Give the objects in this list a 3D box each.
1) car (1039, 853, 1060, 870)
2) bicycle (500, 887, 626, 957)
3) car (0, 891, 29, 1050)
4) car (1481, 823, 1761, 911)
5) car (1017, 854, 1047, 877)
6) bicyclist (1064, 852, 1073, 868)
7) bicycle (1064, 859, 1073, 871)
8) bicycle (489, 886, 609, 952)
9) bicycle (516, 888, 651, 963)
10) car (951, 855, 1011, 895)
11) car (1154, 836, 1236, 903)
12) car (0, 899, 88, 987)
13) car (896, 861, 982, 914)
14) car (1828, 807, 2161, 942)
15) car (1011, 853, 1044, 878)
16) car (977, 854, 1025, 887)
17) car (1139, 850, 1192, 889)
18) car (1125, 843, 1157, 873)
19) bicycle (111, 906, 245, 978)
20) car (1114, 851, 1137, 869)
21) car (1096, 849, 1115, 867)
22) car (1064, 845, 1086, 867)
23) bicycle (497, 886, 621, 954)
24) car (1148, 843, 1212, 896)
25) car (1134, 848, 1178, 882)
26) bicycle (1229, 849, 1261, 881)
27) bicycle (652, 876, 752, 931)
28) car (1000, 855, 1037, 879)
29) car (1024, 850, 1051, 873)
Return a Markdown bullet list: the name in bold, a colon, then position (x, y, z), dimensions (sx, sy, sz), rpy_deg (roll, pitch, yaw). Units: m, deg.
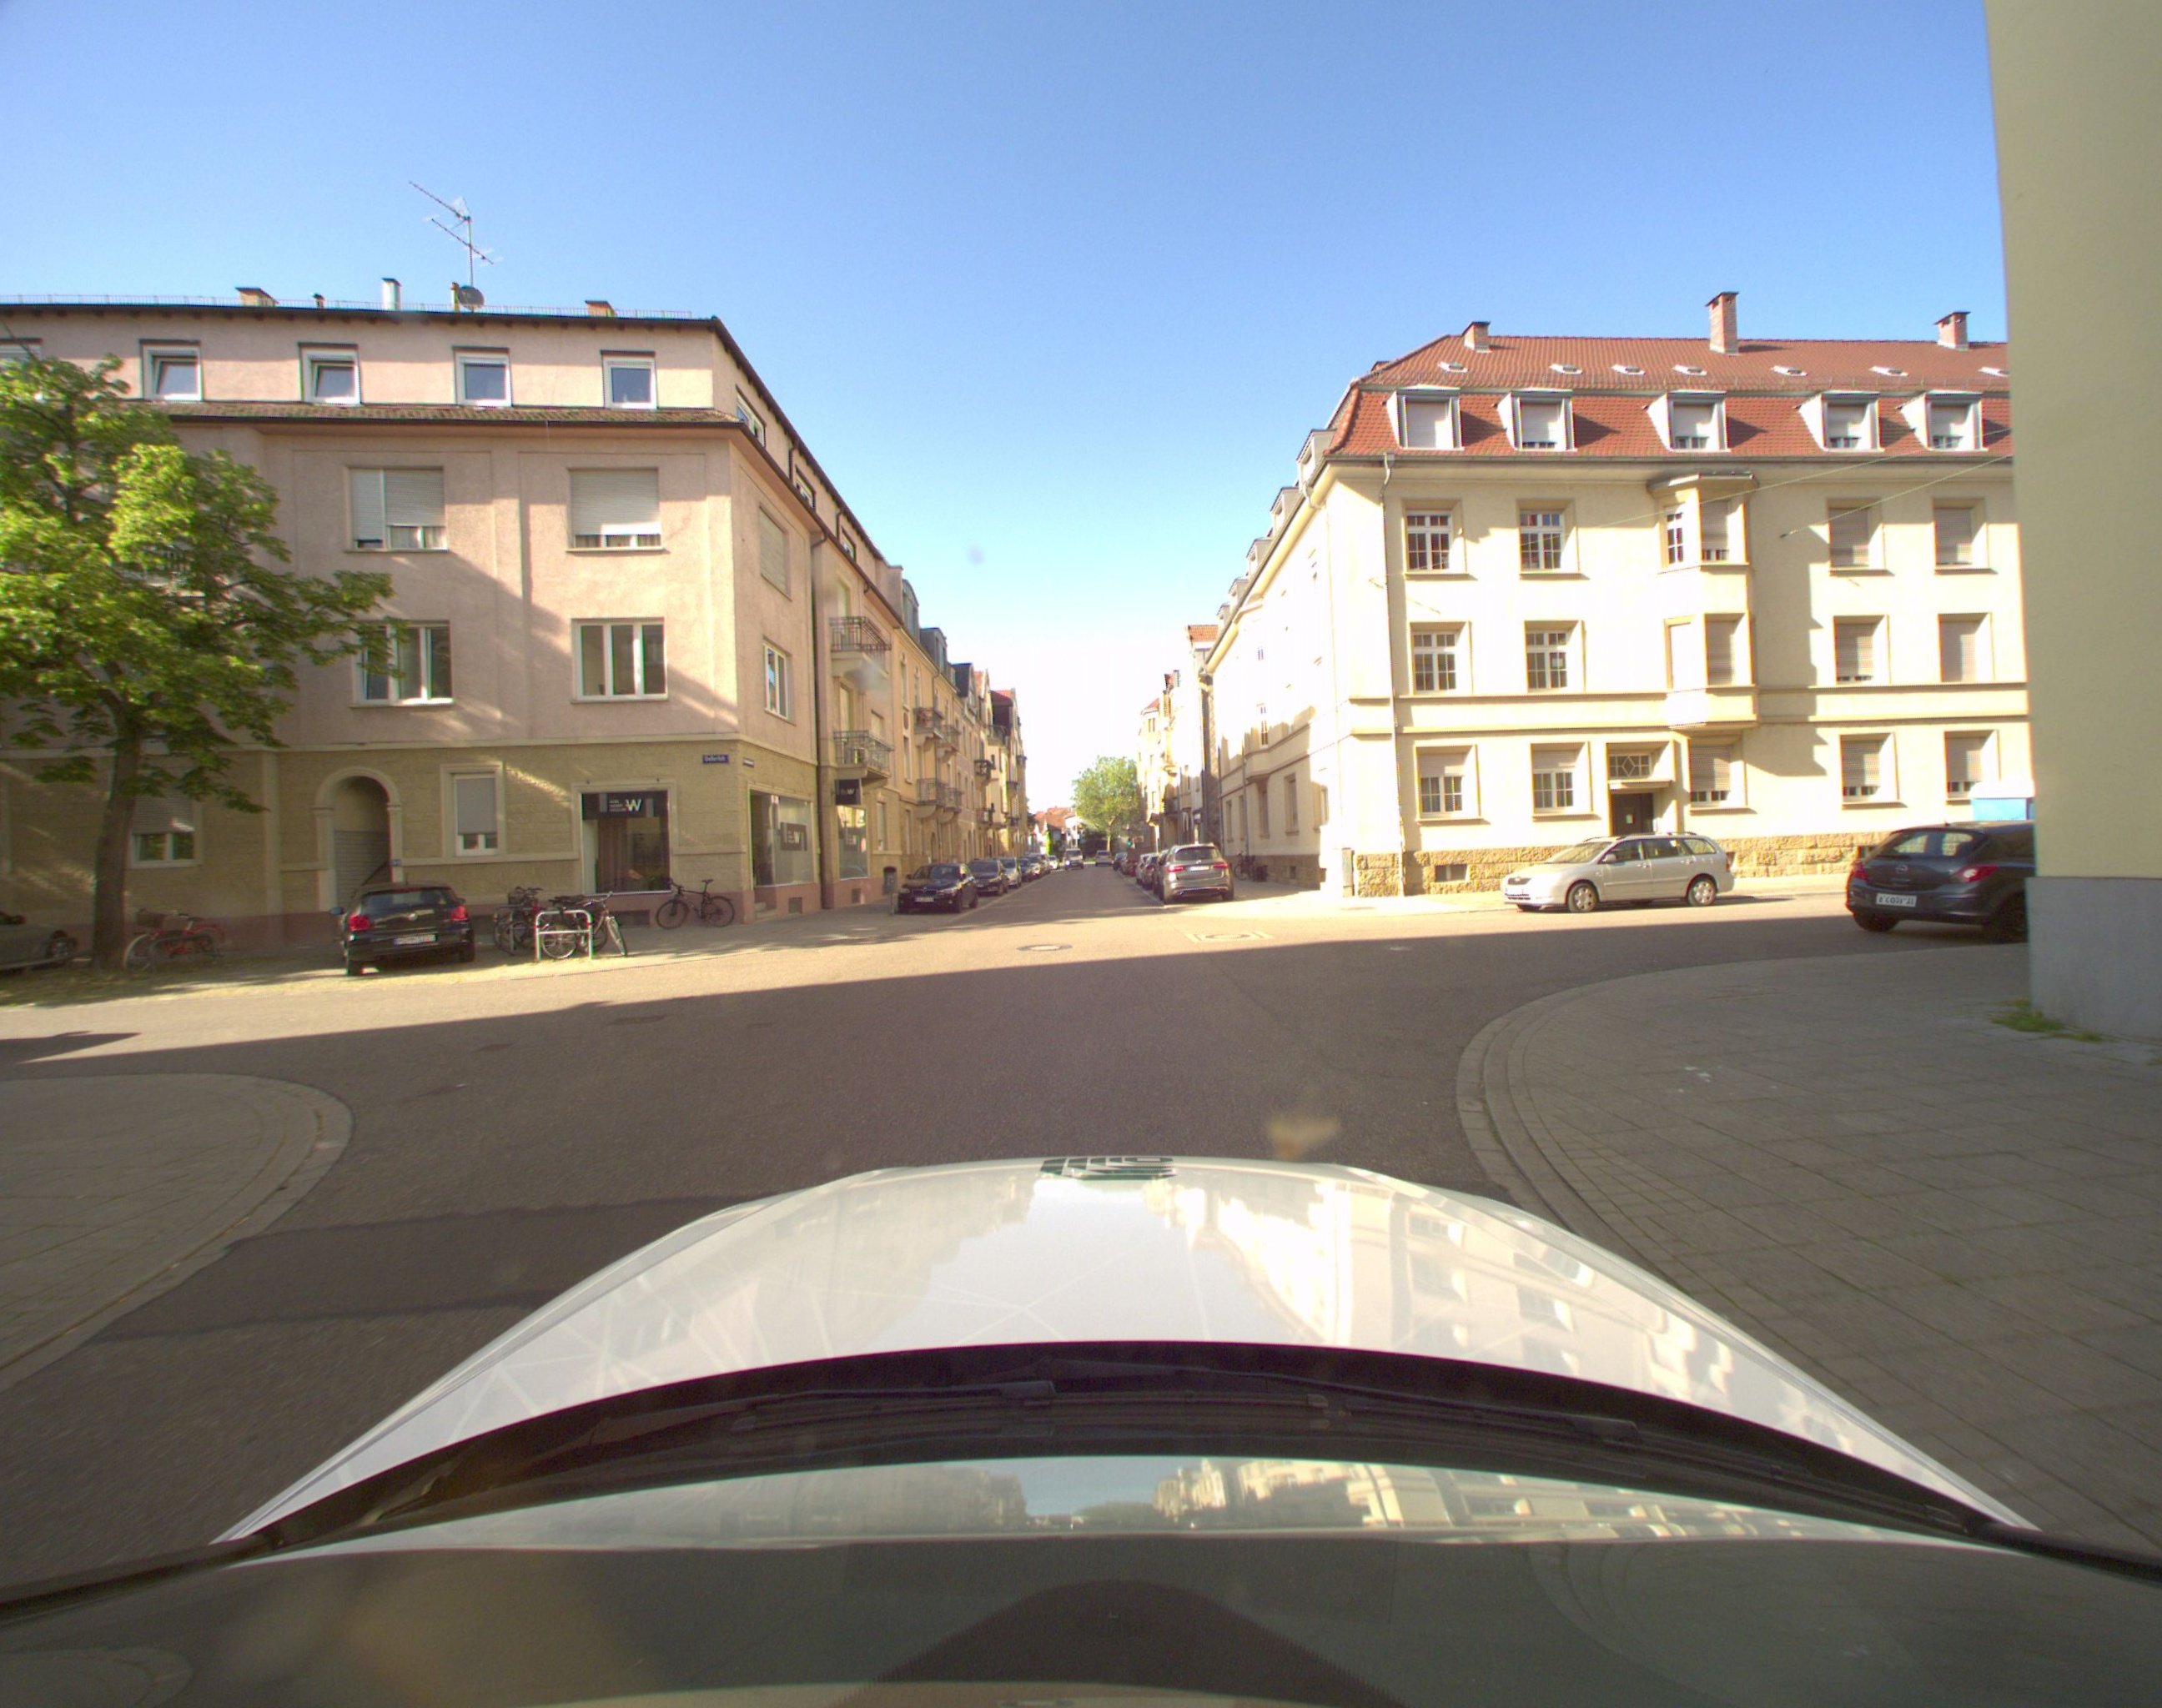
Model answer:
- **car**: position (-3.130, 0.748, 81.774), dimensions (1.997, 1.605, 4.486), rpy_deg (0, -1, 0)
- **bicycle**: position (-9.390, 1.221, 14.787), dimensions (1.891, 1.135, 0.526), rpy_deg (-2, 1, 1)
- **car**: position (-13.020, 1.281, 7.286), dimensions (4.429, 1.592, 1.723), rpy_deg (-3, 0, -7)
- **car**: position (10.764, 0.272, 16.410), dimensions (4.532, 1.468, 1.824), rpy_deg (-3, -2, -7)
- **car**: position (-3.632, 0.855, 61.299), dimensions (1.997, 1.619, 4.486), rpy_deg (0, -1, 0)
- **bicyclist**: position (-1.084, 0.502, 71.273), dimensions (0.660, 1.385, 0.754), rpy_deg (-4, -1, -1)
- **bicycle**: position (-1.063, 0.972, 71.250), dimensions (0.660, 1.019, 2.066), rpy_deg (-4, -1, 0)
- **bicycle**: position (-10.335, 1.254, 15.866), dimensions (1.893, 1.135, 0.526), rpy_deg (-3, 1, -2)
- **bicycle**: position (-8.598, 1.226, 14.117), dimensions (1.891, 1.135, 0.648), rpy_deg (-3, 1, 1)
- **car**: position (-4.168, 0.851, 34.585), dimensions (1.997, 1.582, 4.486), rpy_deg (0, -1, 0)
- **car**: position (3.235, 0.457, 23.981), dimensions (1.905, 1.644, 4.776), rpy_deg (-4, -1, 3)
- **car**: position (-19.647, 1.622, 14.023), dimensions (1.709, 1.438, 4.176), rpy_deg (-3, 0, -28)
- **car**: position (-4.140, 0.931, 24.386), dimensions (1.673, 1.426, 4.276), rpy_deg (0, -1, 2)
- **car**: position (12.084, 0.204, 10.459), dimensions (3.618, 1.468, 1.689), rpy_deg (-3, 0, -6)
- **car**: position (-3.624, 0.778, 55.794), dimensions (1.997, 1.619, 4.486), rpy_deg (0, -1, 0)
- **car**: position (-4.076, 0.847, 42.144), dimensions (1.997, 1.619, 4.486), rpy_deg (0, -1, 0)
- **car**: position (3.533, 0.673, 34.665), dimensions (1.832, 1.431, 4.029), rpy_deg (-4, -1, 1)
- **car**: position (3.861, 0.313, 52.860), dimensions (1.832, 1.787, 4.029), rpy_deg (-3, -2, 1)
- **bicycle**: position (-16.385, 1.565, 14.849), dimensions (0.503, 1.063, 1.888), rpy_deg (0, 1, -7)
- **car**: position (3.921, 0.567, 71.684), dimensions (1.832, 1.431, 4.029), rpy_deg (-4, -2, 1)
- **car**: position (2.640, 0.415, 89.936), dimensions (1.997, 1.914, 4.487), rpy_deg (0, -1, 1)
- **car**: position (-0.562, 0.217, 79.024), dimensions (1.997, 2.000, 4.486), rpy_deg (0, -1, 0)
- **bicycle**: position (-9.779, 1.235, 15.290), dimensions (1.893, 1.135, 0.526), rpy_deg (-3, 1, -2)
- **car**: position (3.394, 0.551, 28.601), dimensions (1.739, 1.608, 4.029), rpy_deg (-4, -1, 1)
- **car**: position (3.621, 0.560, 40.060), dimensions (1.832, 1.431, 4.029), rpy_deg (-4, -1, 1)
- **bicycle**: position (6.695, 0.437, 33.349), dimensions (0.759, 1.246, 2.592), rpy_deg (-2, 0, 1)
- **bicycle**: position (-8.601, 1.111, 18.534), dimensions (1.896, 1.135, 0.647), rpy_deg (-2, 2, -7)
- **car**: position (-3.875, 0.812, 51.285), dimensions (1.972, 1.482, 4.327), rpy_deg (0, -1, 0)
- **car**: position (-3.531, 0.642, 66.775), dimensions (1.997, 1.788, 4.486), rpy_deg (0, -1, 0)
